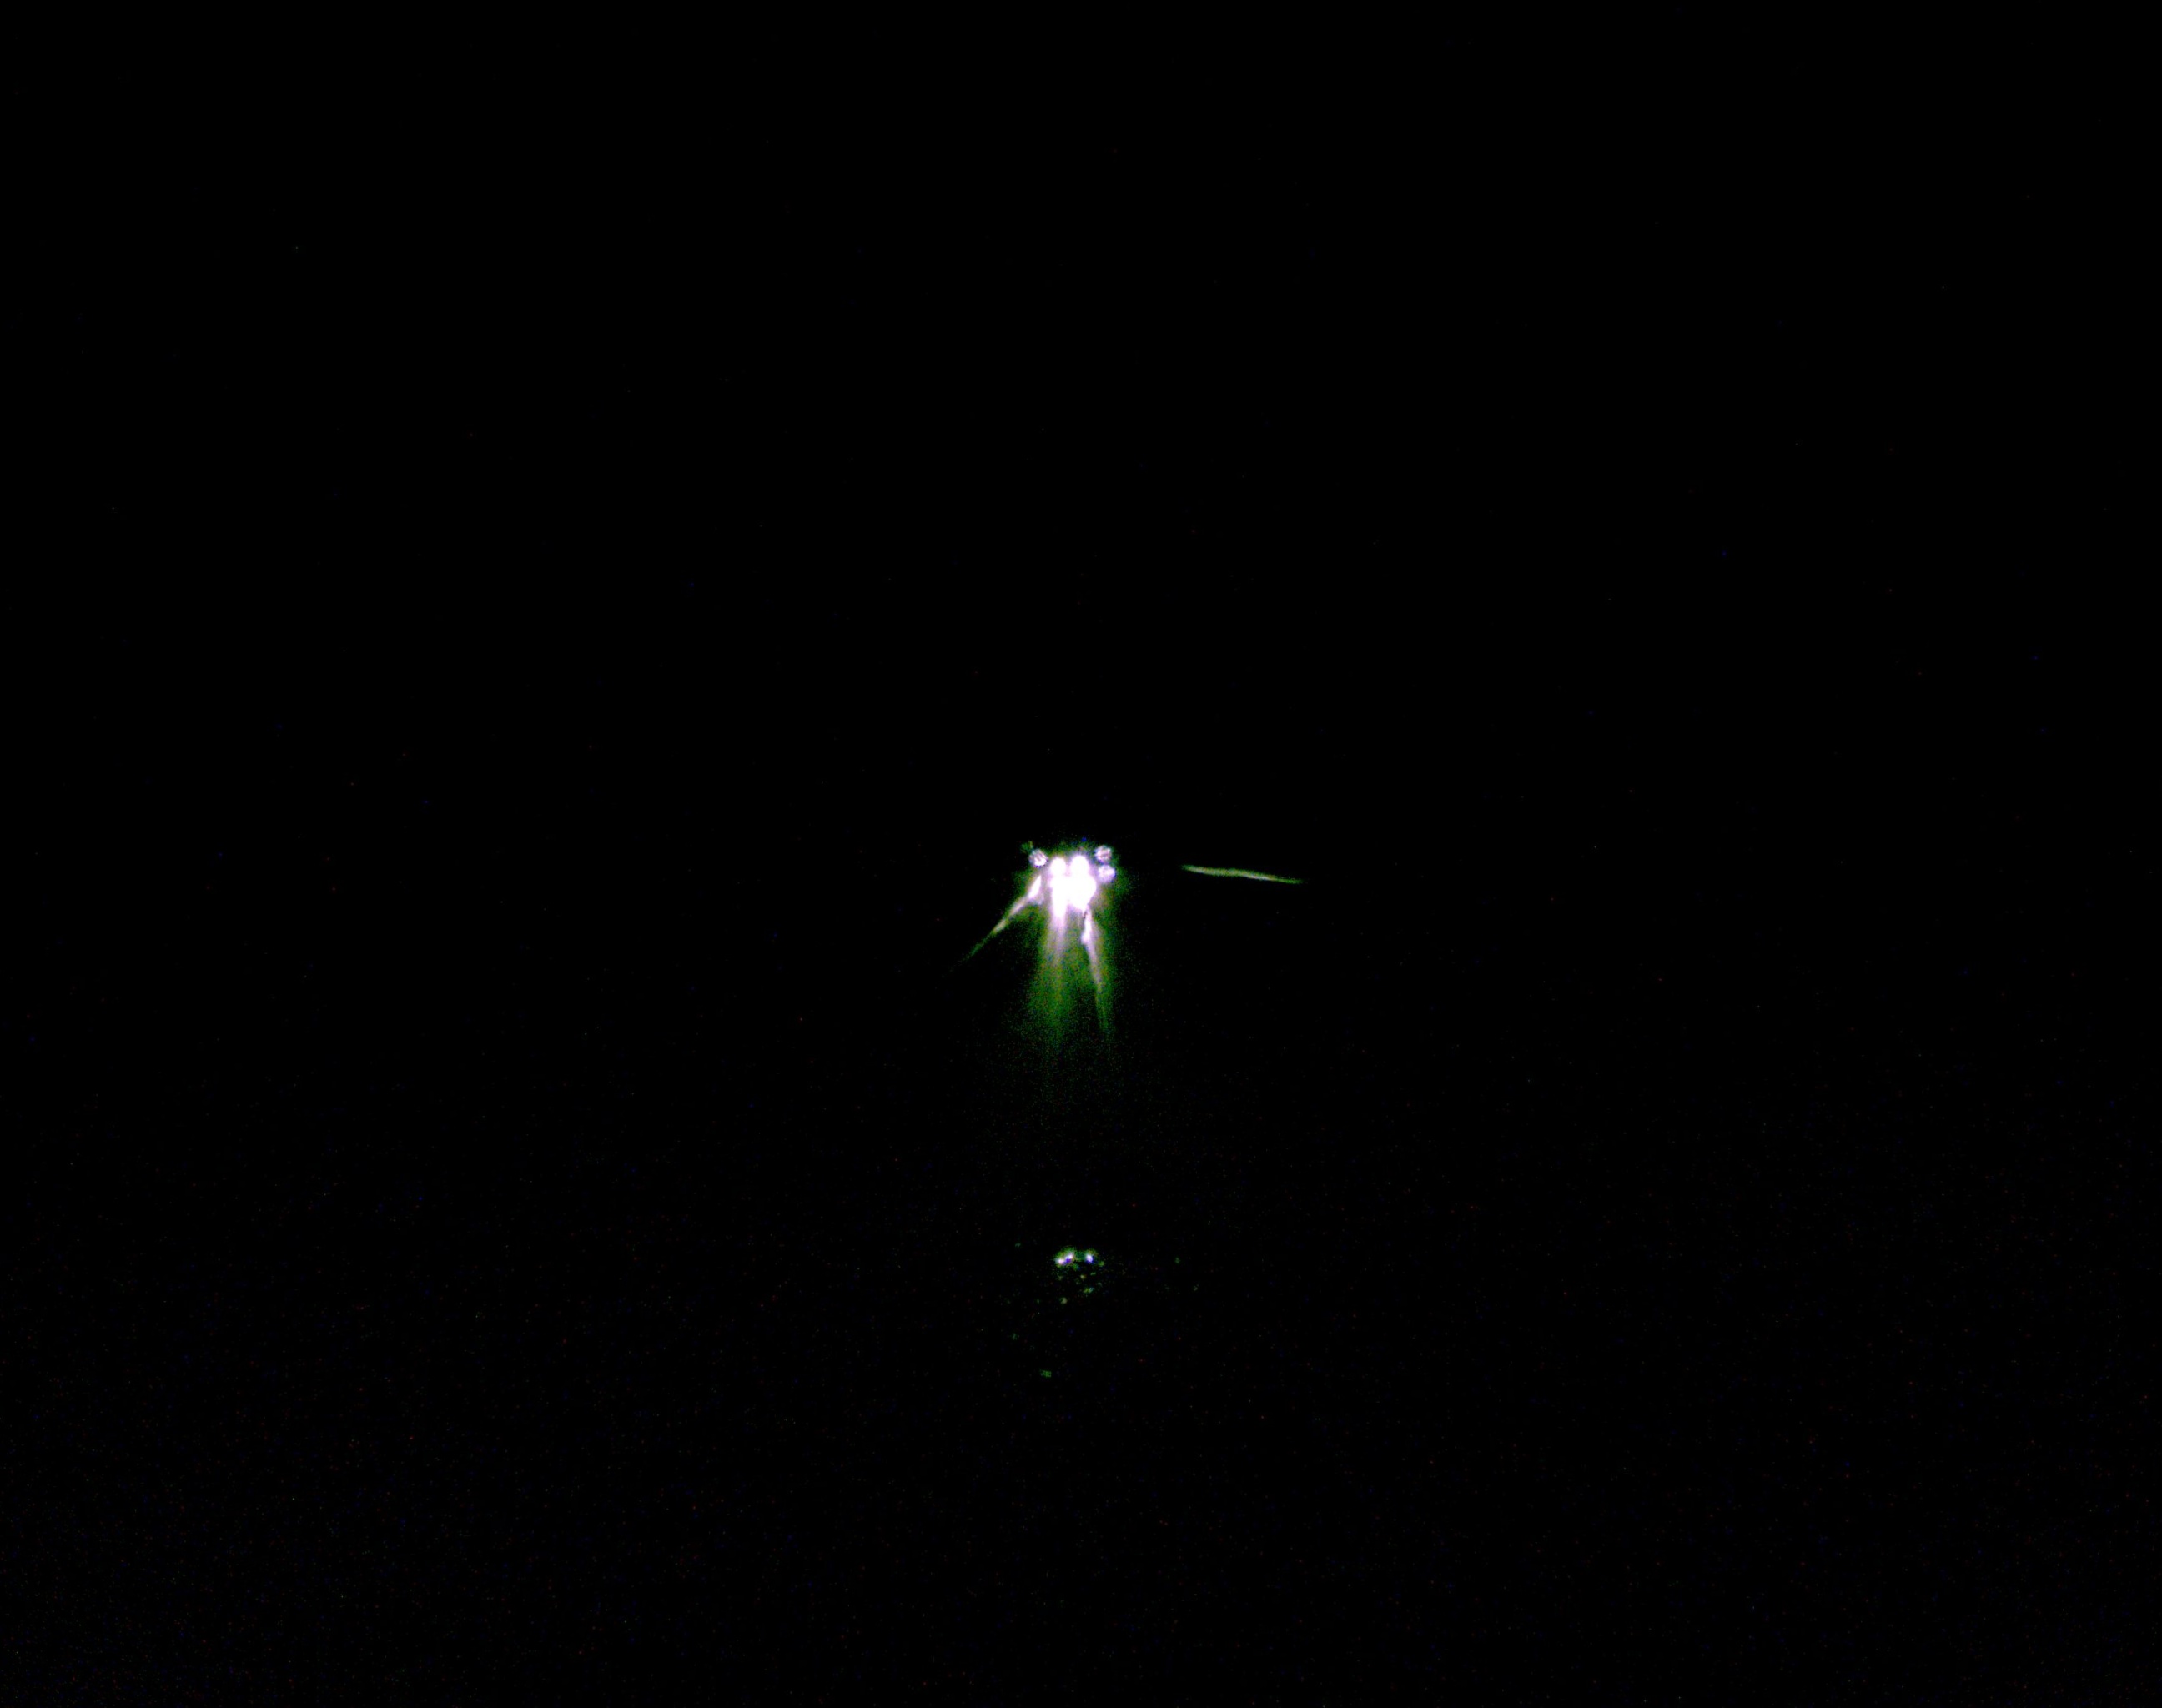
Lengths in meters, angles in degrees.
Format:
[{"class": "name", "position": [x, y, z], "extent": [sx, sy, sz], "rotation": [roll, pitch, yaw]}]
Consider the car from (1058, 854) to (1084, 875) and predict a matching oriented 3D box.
[{"class": "car", "position": [-0.749, 0.764, 56.456], "extent": [1.776, 1.444, 4.135], "rotation": [-3, 0, -2]}]
